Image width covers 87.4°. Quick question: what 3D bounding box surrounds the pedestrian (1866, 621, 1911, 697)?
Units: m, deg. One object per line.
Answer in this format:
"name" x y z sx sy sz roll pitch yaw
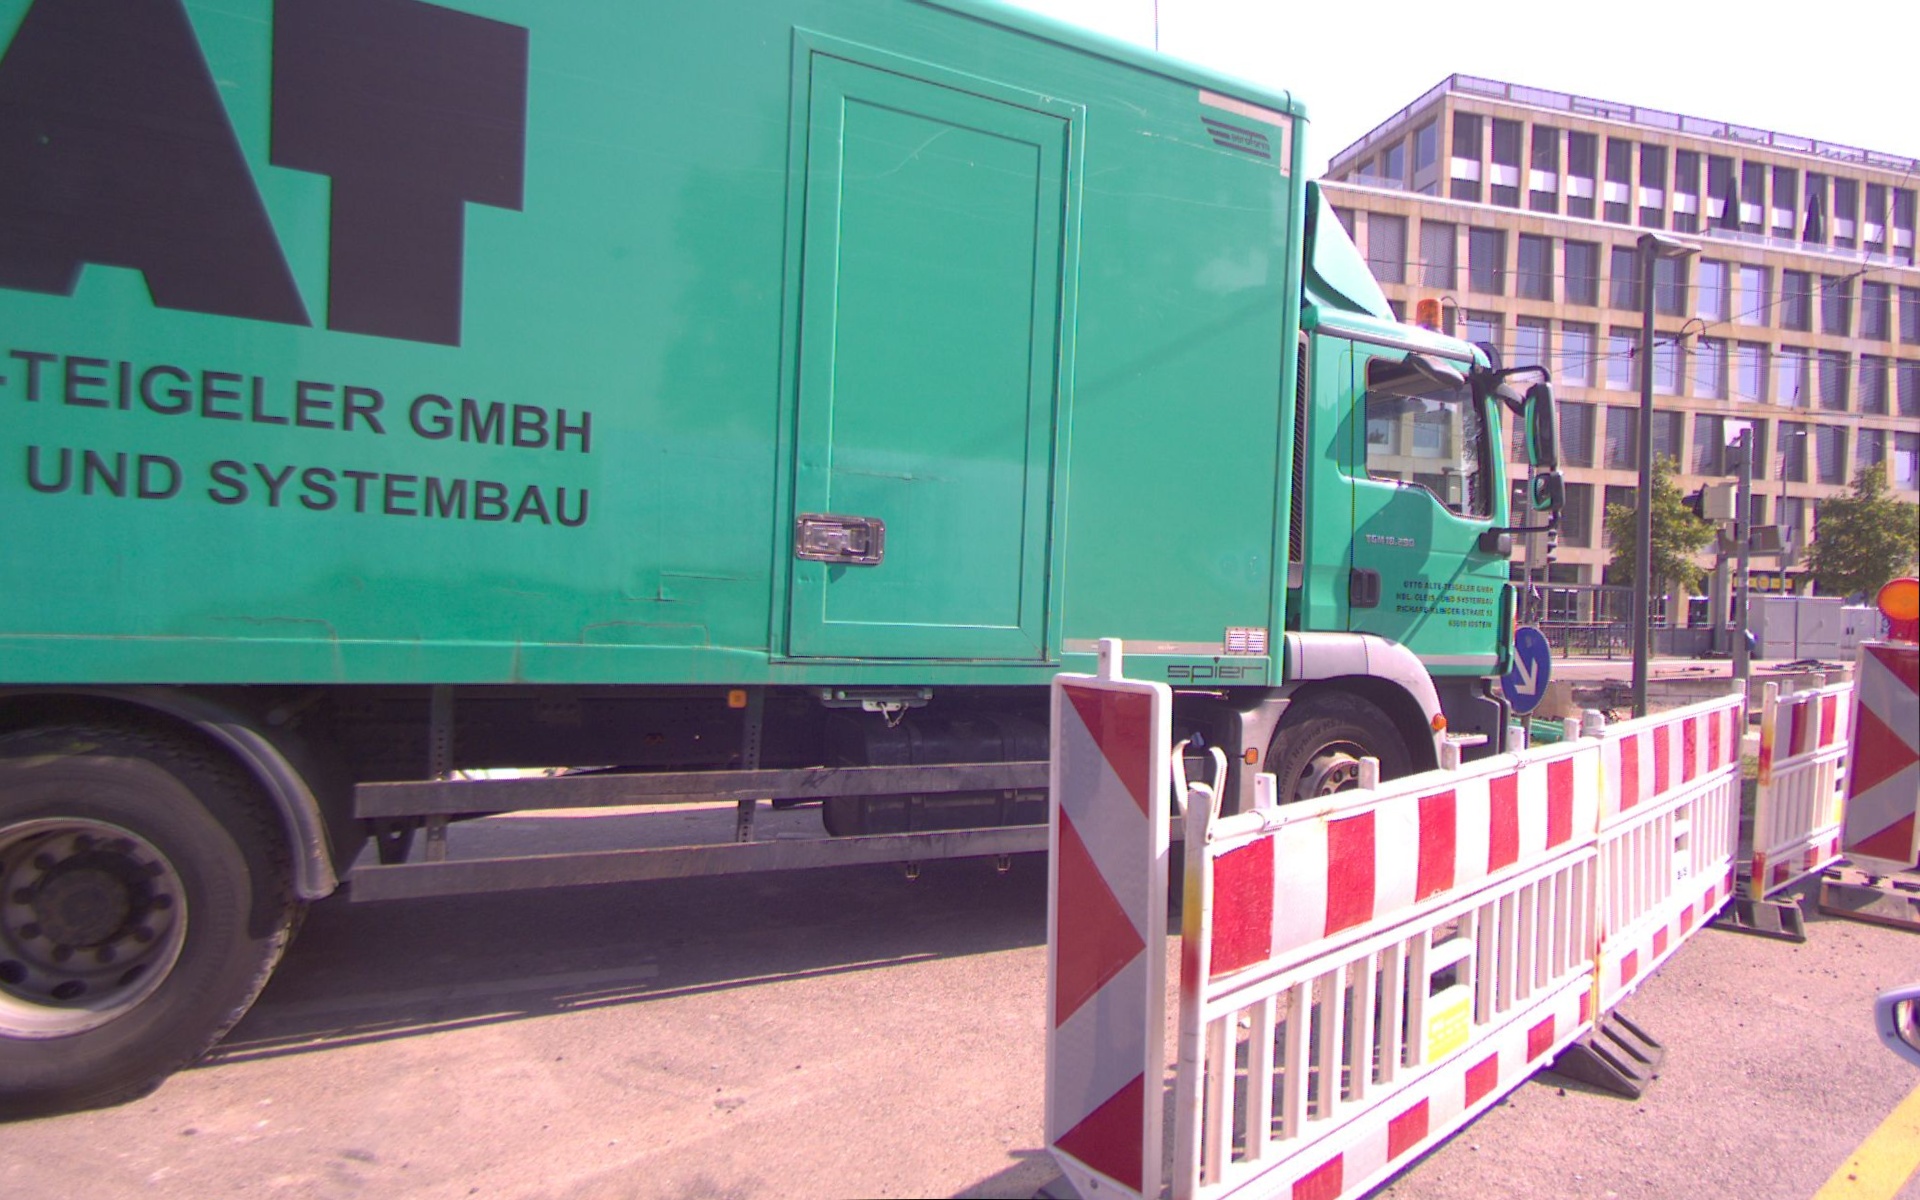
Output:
"pedestrian" 19.745 1.238 21.370 0.621 1.575 0.633 1 -1 -41

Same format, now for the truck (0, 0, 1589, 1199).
"truck" -1.040 -0.469 4.651 8.308 3.965 2.782 0 1 -27

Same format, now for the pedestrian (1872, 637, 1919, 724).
"pedestrian" 18.762 1.586 19.929 0.757 1.685 0.669 0 -1 19

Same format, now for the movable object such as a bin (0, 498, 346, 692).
"movable object such as a bin" -21.282 -0.062 27.063 4.872 4.404 7.381 2 -1 -1
